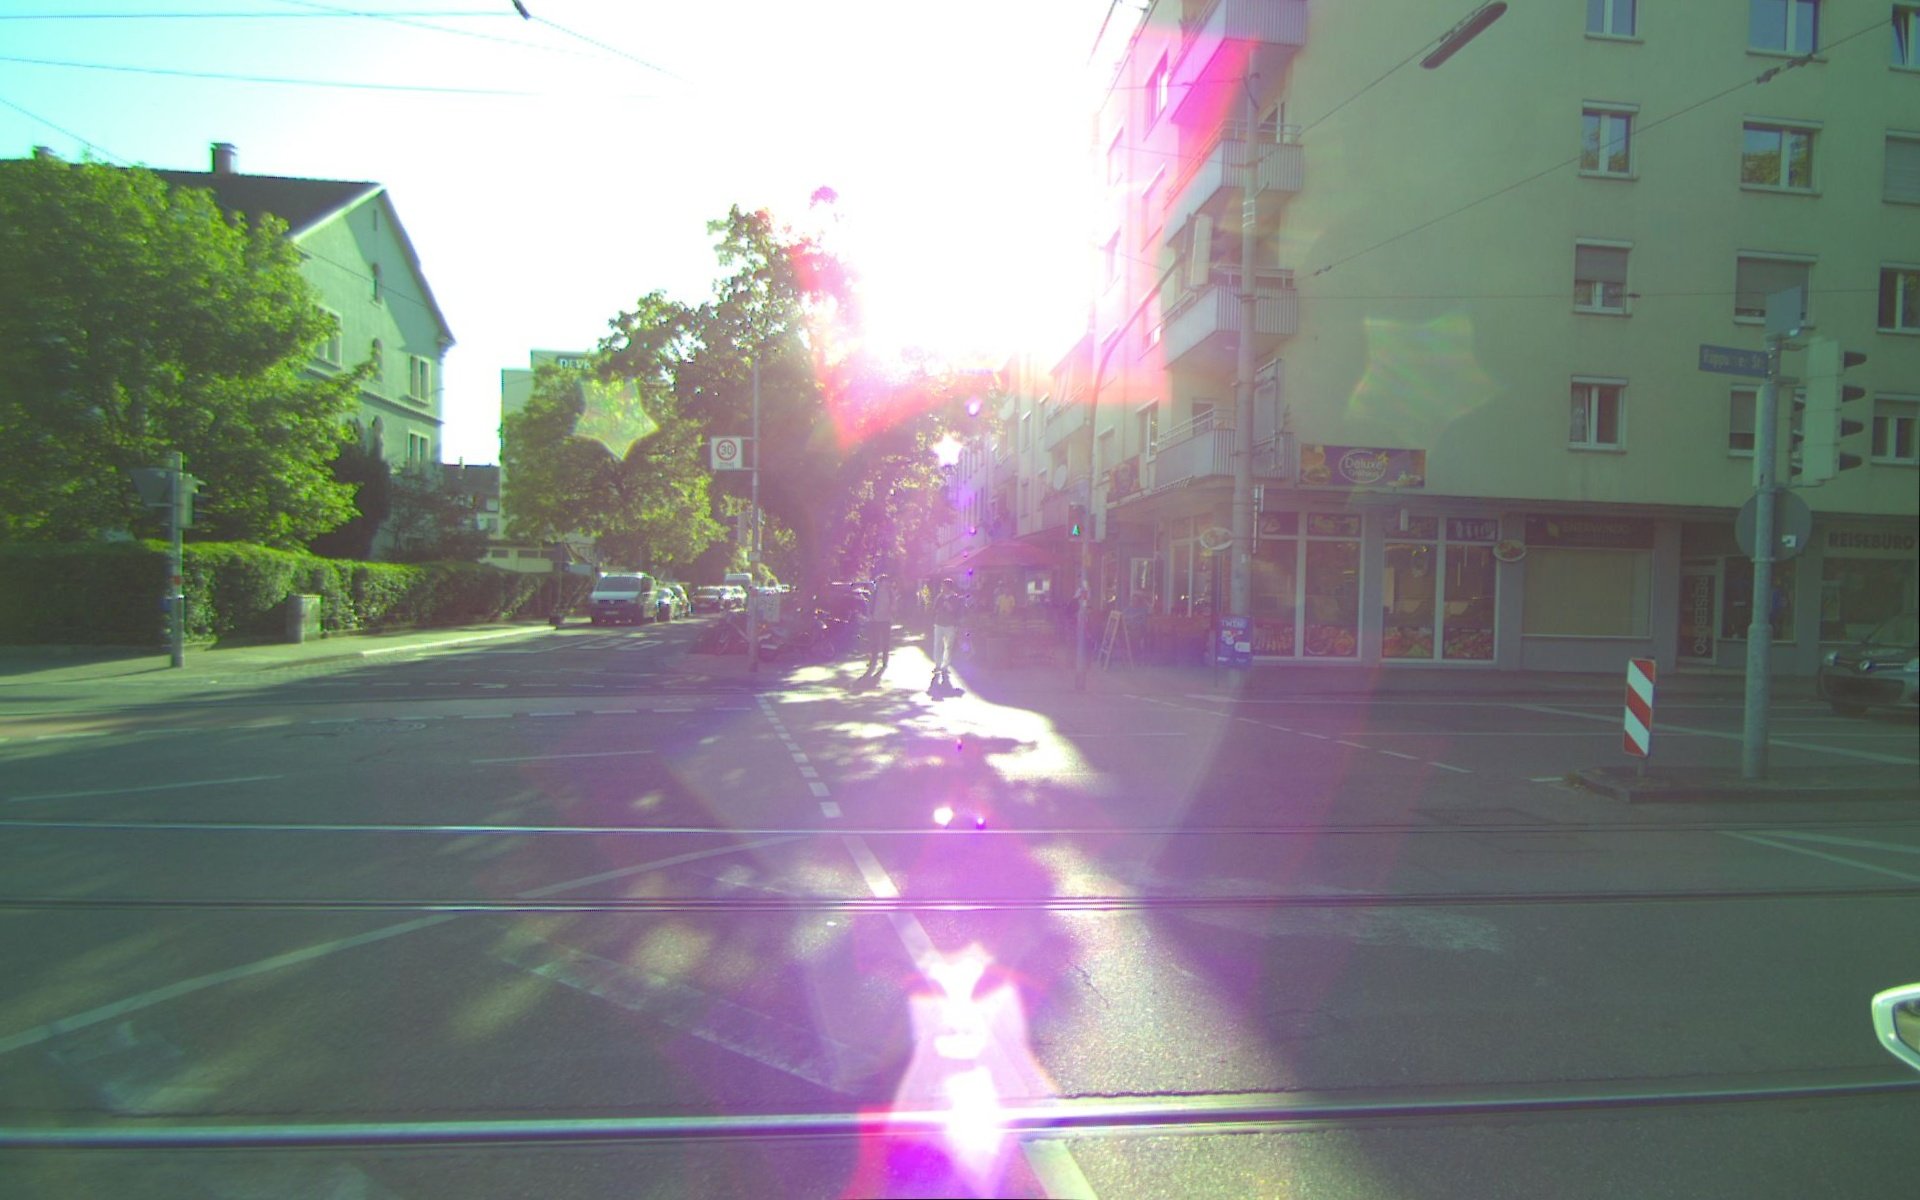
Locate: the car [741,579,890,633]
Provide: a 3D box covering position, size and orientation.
[{"bbox_3d":[-5.635,0.270,39.314,5.537,1.949,2.359,1,-1,-10],"label":"car"}]

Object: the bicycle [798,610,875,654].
[{"bbox_3d":[-2.805,0.732,22.885,1.697,0.945,0.561,1,1,-7],"label":"bicycle"}]

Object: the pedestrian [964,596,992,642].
[{"bbox_3d":[0.540,0.584,30.987,0.798,1.380,0.914,1,1,-1],"label":"pedestrian"}]

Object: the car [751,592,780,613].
[{"bbox_3d":[-17.858,0.274,92.506,1.962,1.639,3.999,5,-2,-2],"label":"car"}]

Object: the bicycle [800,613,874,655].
[{"bbox_3d":[-2.898,0.796,23.648,1.697,0.945,0.561,1,1,-7],"label":"bicycle"}]

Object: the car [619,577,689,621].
[{"bbox_3d":[-13.823,-0.060,45.731,2.320,1.819,5.300,1,0,-9],"label":"car"}]

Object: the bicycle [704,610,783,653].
[{"bbox_3d":[-4.966,0.724,23.139,1.697,0.945,0.671,1,1,-7],"label":"bicycle"}]

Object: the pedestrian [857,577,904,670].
[{"bbox_3d":[-1.561,0.457,19.672,0.683,1.774,0.791,1,1,-21],"label":"pedestrian"}]

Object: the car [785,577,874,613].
[{"bbox_3d":[-7.689,-0.257,59.077,5.015,1.949,2.359,1,-1,-10],"label":"car"}]

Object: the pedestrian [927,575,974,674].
[{"bbox_3d":[-0.165,0.439,18.737,0.679,1.774,0.841,2,1,11],"label":"pedestrian"}]

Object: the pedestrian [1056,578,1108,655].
[{"bbox_3d":[2.908,0.394,24.018,0.902,1.795,0.808,1,1,-28],"label":"pedestrian"}]

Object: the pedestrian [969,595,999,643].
[{"bbox_3d":[0.706,0.552,29.668,0.798,1.380,0.914,1,1,-1],"label":"pedestrian"}]

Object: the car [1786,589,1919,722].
[{"bbox_3d":[15.081,0.787,15.026,4.285,1.831,1.911,1,1,-12],"label":"car"}]

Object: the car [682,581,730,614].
[{"bbox_3d":[-15.299,-0.170,60.762,2.320,1.819,5.300,1,0,-9],"label":"car"}]

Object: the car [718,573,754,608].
[{"bbox_3d":[-17.030,-0.735,76.519,2.320,2.548,5.300,1,0,-9],"label":"car"}]

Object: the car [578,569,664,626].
[{"bbox_3d":[-13.217,-0.101,39.556,2.320,2.040,5.300,1,0,-9],"label":"car"}]

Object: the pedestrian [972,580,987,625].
[{"bbox_3d":[0.908,0.116,46.914,0.528,2.040,0.510,1,1,-14],"label":"pedestrian"}]

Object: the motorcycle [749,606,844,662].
[{"bbox_3d":[-3.475,0.721,21.296,1.924,1.124,0.835,1,1,-12],"label":"motorcycle"}]

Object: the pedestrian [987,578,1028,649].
[{"bbox_3d":[1.229,0.344,26.024,0.800,1.795,0.911,1,1,-13],"label":"pedestrian"}]
